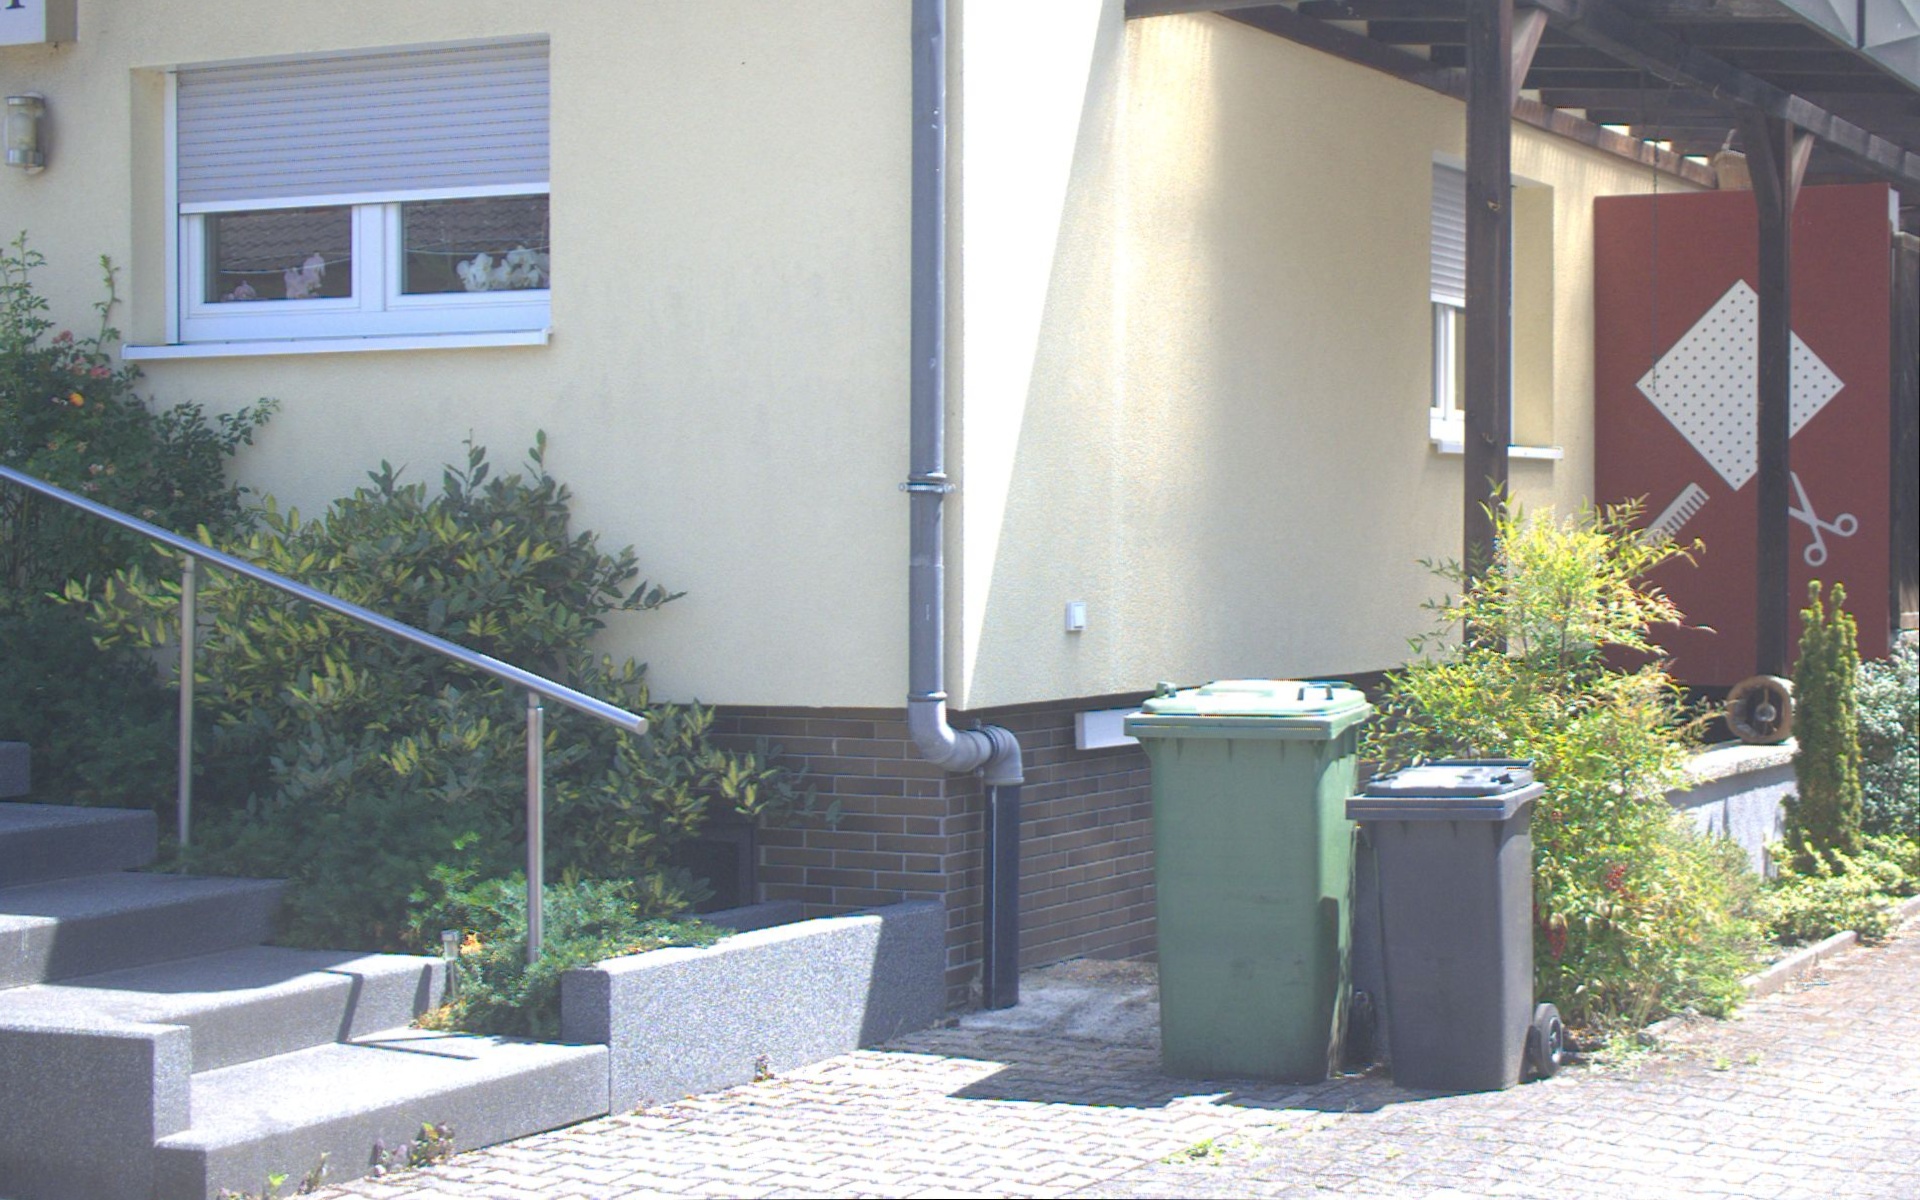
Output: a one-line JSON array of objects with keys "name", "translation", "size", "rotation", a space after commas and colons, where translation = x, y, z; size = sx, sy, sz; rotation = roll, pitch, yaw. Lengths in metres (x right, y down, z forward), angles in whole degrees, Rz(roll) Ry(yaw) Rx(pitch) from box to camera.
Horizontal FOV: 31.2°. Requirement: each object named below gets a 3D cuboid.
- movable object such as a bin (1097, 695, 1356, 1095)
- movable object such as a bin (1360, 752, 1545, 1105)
[{"name": "movable object such as a bin", "translation": [0.737, 0.793, 9.452], "size": [0.591, 1.037, 0.491], "rotation": [0, 1, 20]}, {"name": "movable object such as a bin", "translation": [1.322, 0.867, 9.201], "size": [0.407, 0.888, 0.426], "rotation": [0, 1, 19]}]
